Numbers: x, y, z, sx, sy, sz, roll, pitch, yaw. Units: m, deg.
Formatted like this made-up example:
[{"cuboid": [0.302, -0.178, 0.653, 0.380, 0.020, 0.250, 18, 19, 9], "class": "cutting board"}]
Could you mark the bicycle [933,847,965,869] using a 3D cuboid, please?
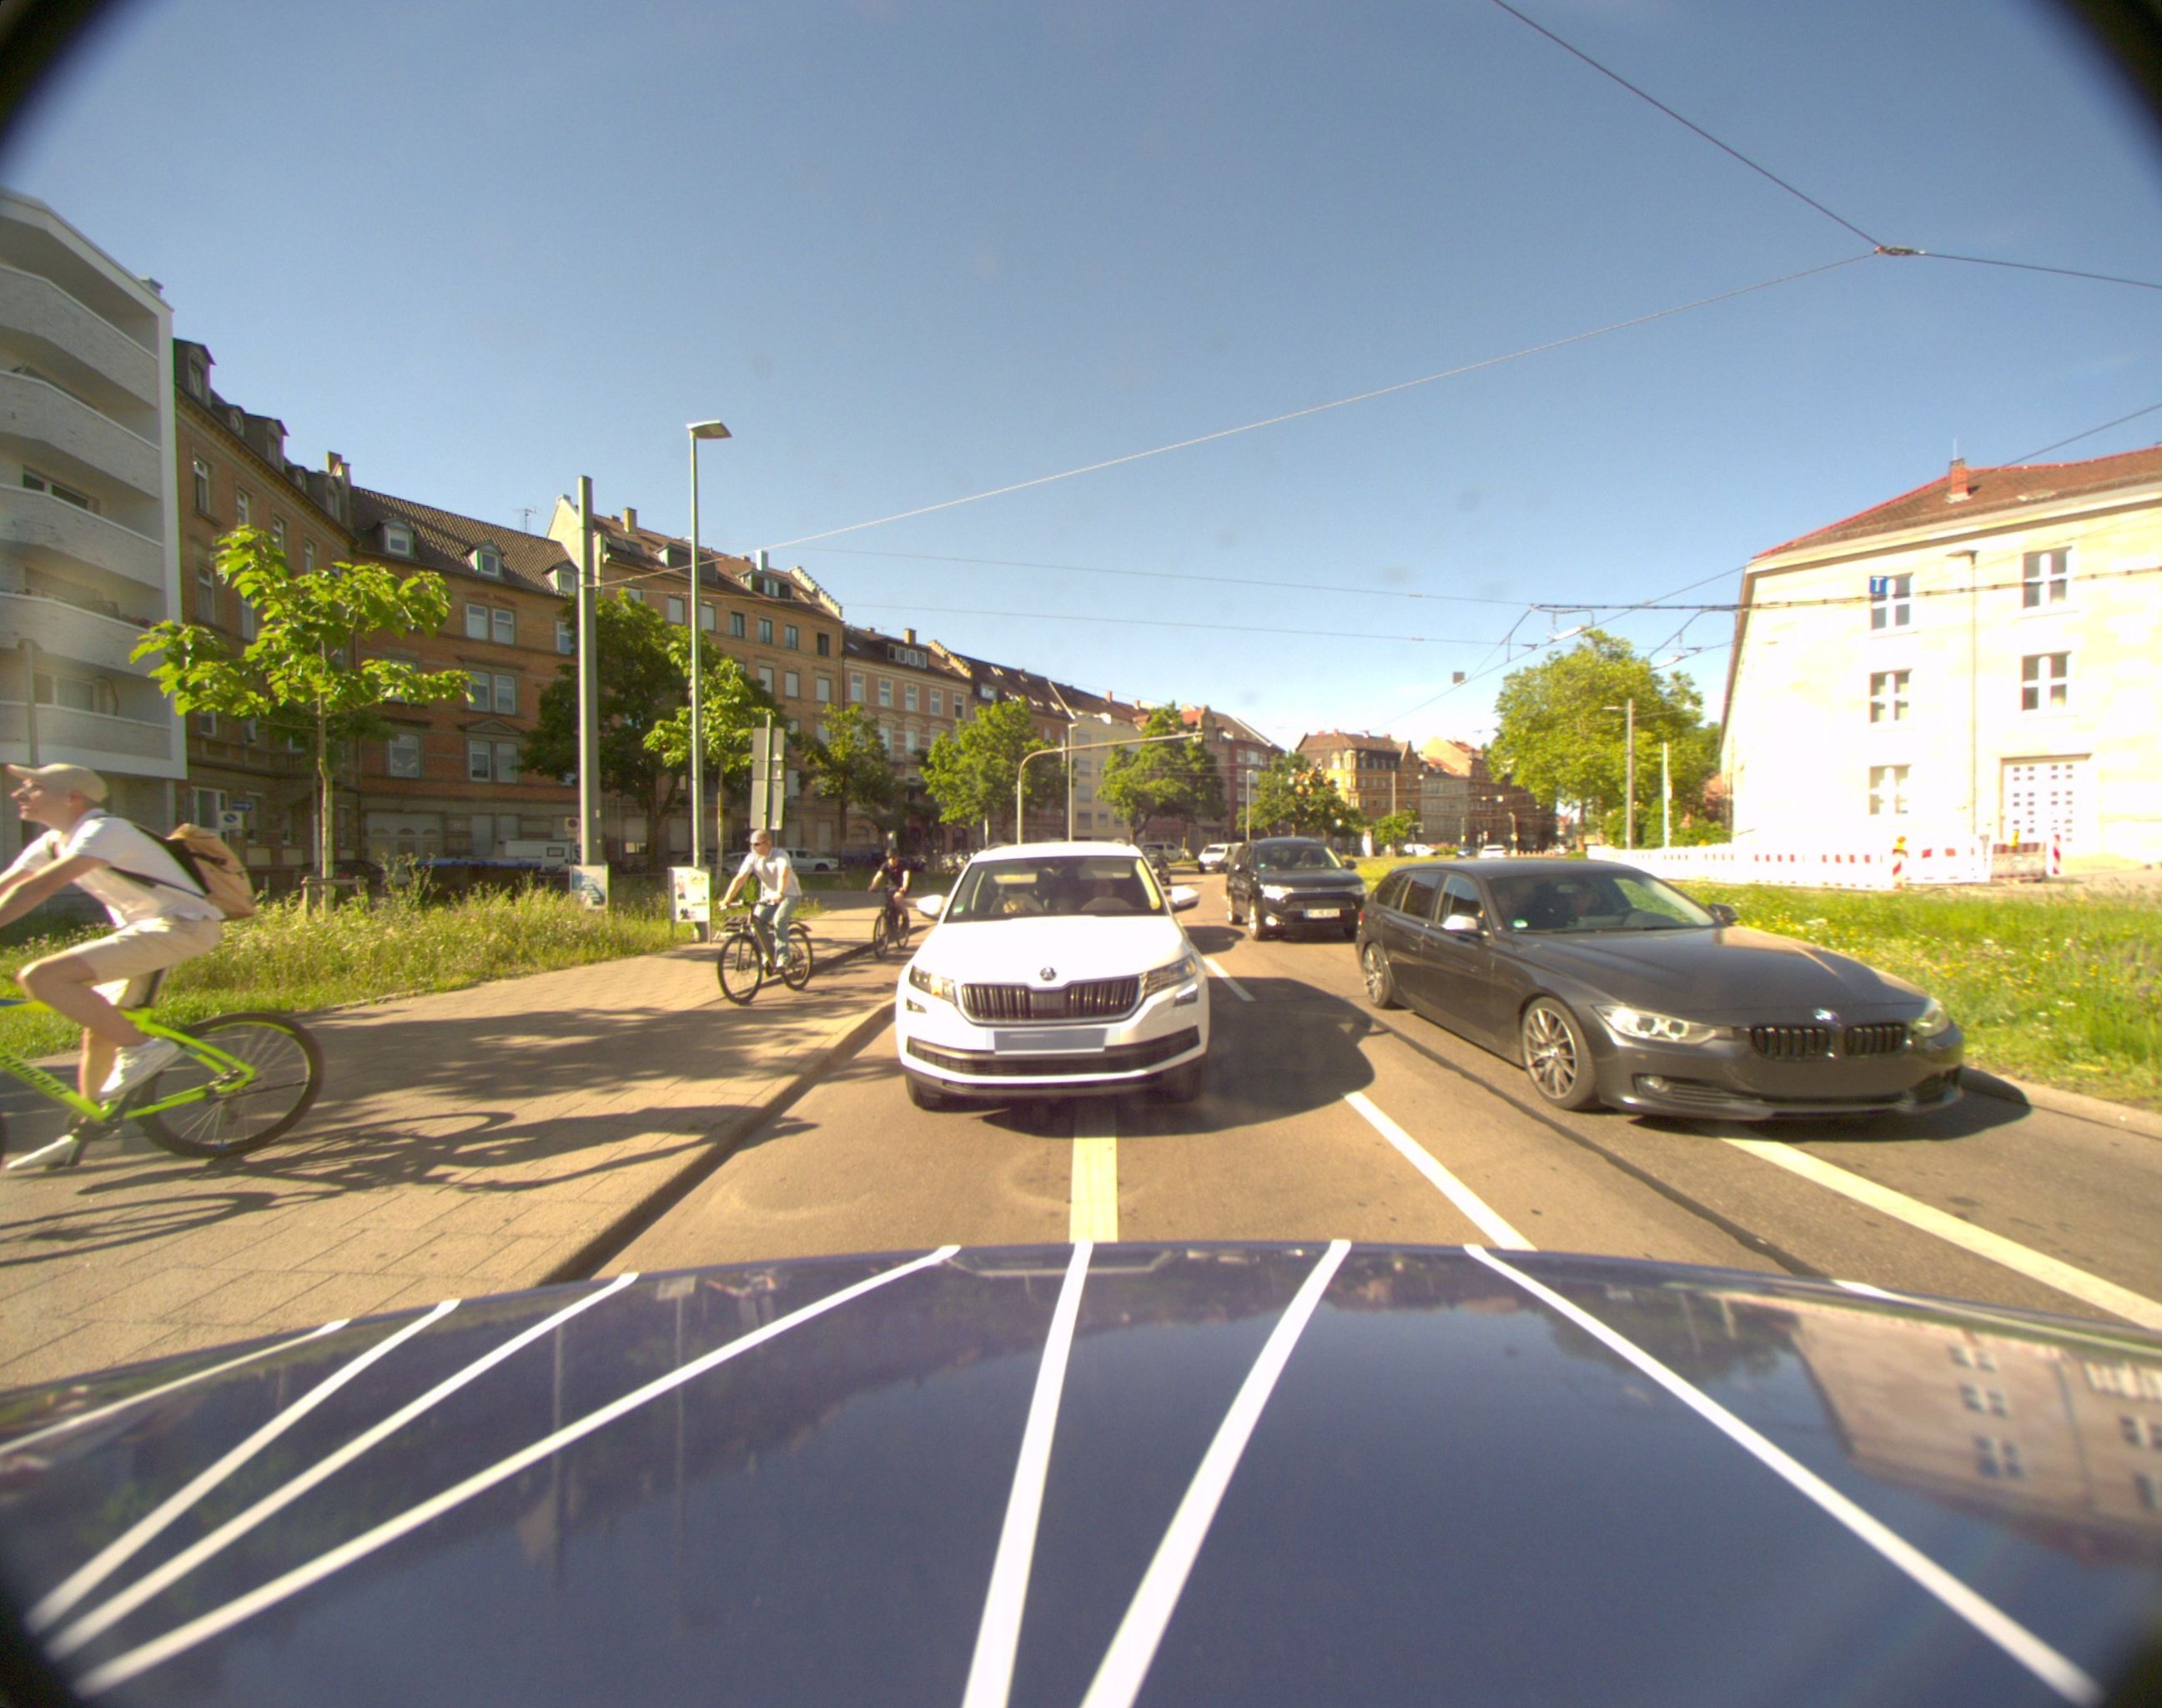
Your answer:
[{"cuboid": [-7.732, 0.243, 44.515, 0.664, 1.260, 2.198, -3, 1, -45], "class": "bicycle"}]

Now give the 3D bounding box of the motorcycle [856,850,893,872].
[{"cuboid": [-12.605, 0.403, 46.401, 2.199, 1.260, 0.664, -2, 1, 24], "class": "motorcycle"}]

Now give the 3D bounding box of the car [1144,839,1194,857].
[{"cuboid": [8.195, -0.584, 70.606, 4.578, 1.658, 1.600, 0, 1, 7], "class": "car"}]

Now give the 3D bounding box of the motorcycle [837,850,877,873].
[{"cuboid": [-13.292, 0.440, 45.016, 2.314, 1.270, 0.664, -2, 1, 24], "class": "motorcycle"}]

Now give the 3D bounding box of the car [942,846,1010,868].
[{"cuboid": [-7.046, 0.178, 51.292, 4.322, 1.398, 1.682, 0, 1, 3], "class": "car"}]

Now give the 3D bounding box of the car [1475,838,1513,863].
[{"cuboid": [28.666, -0.266, 52.839, 1.821, 1.636, 4.188, -1, 0, 22], "class": "car"}]

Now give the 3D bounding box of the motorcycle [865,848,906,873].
[{"cuboid": [-11.151, 0.359, 43.290, 2.200, 1.315, 0.664, -2, 1, 18], "class": "motorcycle"}]

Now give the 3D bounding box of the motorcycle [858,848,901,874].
[{"cuboid": [-11.181, 0.377, 42.204, 2.200, 1.322, 0.663, -2, 1, 13], "class": "motorcycle"}]

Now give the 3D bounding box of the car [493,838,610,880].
[{"cuboid": [-27.120, 0.217, 39.007, 2.047, 2.026, 4.510, 1, 2, 41], "class": "car"}]

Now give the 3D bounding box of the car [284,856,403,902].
[{"cuboid": [-26.171, 0.829, 27.145, 1.835, 1.419, 4.378, -1, 1, -27], "class": "car"}]

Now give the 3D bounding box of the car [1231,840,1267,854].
[{"cuboid": [18.691, -0.814, 84.656, 3.823, 1.581, 1.600, 0, 1, 6], "class": "car"}]

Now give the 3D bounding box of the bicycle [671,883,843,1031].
[{"cuboid": [-3.447, 1.029, 8.359, 0.758, 1.293, 2.155, -1, 1, 6], "class": "bicycle"}]

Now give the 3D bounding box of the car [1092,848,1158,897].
[{"cuboid": [1.641, 0.601, 26.954, 1.838, 1.543, 4.151, 0, 1, 10], "class": "car"}]

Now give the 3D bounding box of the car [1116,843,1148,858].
[{"cuboid": [5.466, -0.417, 80.725, 1.547, 1.578, 3.607, 1, 2, 41], "class": "car"}]

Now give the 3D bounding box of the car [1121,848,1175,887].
[{"cuboid": [3.121, 0.559, 34.863, 1.837, 1.637, 4.152, 0, 1, 14], "class": "car"}]

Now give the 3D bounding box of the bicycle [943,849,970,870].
[{"cuboid": [-7.688, 0.343, 46.757, 0.664, 1.260, 2.199, -3, 1, -36], "class": "bicycle"}]

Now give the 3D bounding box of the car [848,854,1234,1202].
[{"cuboid": [-0.230, 0.856, 5.947, 1.842, 1.636, 4.397, -2, 0, -1], "class": "car"}]

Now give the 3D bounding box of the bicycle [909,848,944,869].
[{"cuboid": [-9.513, 0.282, 46.709, 2.198, 1.260, 0.664, -2, 1, 32], "class": "bicycle"}]

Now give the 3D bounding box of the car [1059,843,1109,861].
[{"cuboid": [0.258, -0.156, 61.162, 3.823, 1.398, 1.600, 0, 1, 6], "class": "car"}]

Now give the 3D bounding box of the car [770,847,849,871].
[{"cuboid": [-14.683, 0.258, 41.192, 3.700, 1.244, 1.540, 0, 1, 2], "class": "car"}]

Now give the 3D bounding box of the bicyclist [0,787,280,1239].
[{"cuboid": [-4.381, 0.599, 3.252, 0.715, 1.715, 1.095, 1, 1, 10], "class": "bicyclist"}]

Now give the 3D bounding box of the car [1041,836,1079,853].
[{"cuboid": [-1.942, -0.938, 71.662, 1.547, 1.578, 3.607, 1, 2, 41], "class": "car"}]

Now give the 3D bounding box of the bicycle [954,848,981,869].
[{"cuboid": [-7.125, 0.311, 47.751, 0.664, 1.260, 2.199, -3, 1, -36], "class": "bicycle"}]

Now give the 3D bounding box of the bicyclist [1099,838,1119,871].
[{"cuboid": [1.490, 0.009, 39.972, 0.734, 1.685, 0.973, 0, 1, 22], "class": "bicyclist"}]

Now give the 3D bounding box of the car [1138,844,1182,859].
[{"cuboid": [7.123, -0.244, 68.176, 3.823, 1.372, 1.600, 0, 1, 9], "class": "car"}]

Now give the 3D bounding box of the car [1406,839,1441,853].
[{"cuboid": [52.324, -1.219, 116.195, 4.578, 1.864, 2.004, -2, 1, 33], "class": "car"}]

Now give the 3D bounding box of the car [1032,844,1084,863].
[{"cuboid": [-1.754, -0.051, 58.707, 3.823, 1.398, 1.600, 0, 1, 6], "class": "car"}]

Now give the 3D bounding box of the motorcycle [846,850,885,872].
[{"cuboid": [-12.943, 0.417, 45.622, 2.314, 1.276, 0.664, -2, 1, 24], "class": "motorcycle"}]

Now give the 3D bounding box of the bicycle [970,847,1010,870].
[{"cuboid": [-5.478, 0.270, 45.736, 2.207, 1.260, 0.662, -3, 1, -25], "class": "bicycle"}]

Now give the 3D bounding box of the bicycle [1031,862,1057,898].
[{"cuboid": [-1.279, 0.895, 26.795, 0.668, 1.190, 2.155, -1, 1, 4], "class": "bicycle"}]

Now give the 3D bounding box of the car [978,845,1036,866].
[{"cuboid": [-5.230, 0.090, 53.962, 3.822, 1.398, 1.683, 0, 1, 9], "class": "car"}]

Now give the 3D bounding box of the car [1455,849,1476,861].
[{"cuboid": [54.862, 0.102, 108.366, 1.835, 1.637, 4.157, 1, 2, 40], "class": "car"}]

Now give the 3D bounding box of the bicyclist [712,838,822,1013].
[{"cuboid": [-3.453, 0.757, 8.424, 0.809, 1.855, 0.749, -1, 2, 6], "class": "bicyclist"}]

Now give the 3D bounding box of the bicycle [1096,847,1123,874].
[{"cuboid": [1.503, 0.318, 39.990, 0.735, 1.353, 2.078, 0, 1, 21], "class": "bicycle"}]

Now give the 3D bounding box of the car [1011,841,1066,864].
[{"cuboid": [-3.110, -0.133, 56.101, 3.825, 1.698, 1.682, 0, 1, 3], "class": "car"}]

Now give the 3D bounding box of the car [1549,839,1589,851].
[{"cuboid": [65.811, -1.195, 102.518, 4.063, 1.647, 1.768, 0, 1, 13], "class": "car"}]

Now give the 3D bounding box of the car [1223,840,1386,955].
[{"cuboid": [3.695, 0.628, 13.395, 1.841, 1.636, 4.399, -2, 0, 5], "class": "car"}]

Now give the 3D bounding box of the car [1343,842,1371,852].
[{"cuboid": [44.945, -1.180, 123.841, 4.058, 1.647, 1.770, 1, 2, 34], "class": "car"}]

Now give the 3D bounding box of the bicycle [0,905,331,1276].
[{"cuboid": [-4.404, 0.935, 3.144, 0.715, 1.319, 1.750, 1, 0, 10], "class": "bicycle"}]

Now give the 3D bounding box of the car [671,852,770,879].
[{"cuboid": [-17.502, 0.535, 36.903, 4.156, 1.244, 1.683, 0, 1, 13], "class": "car"}]

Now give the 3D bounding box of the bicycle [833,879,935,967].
[{"cuboid": [-3.095, 1.043, 12.208, 0.637, 1.190, 2.156, -1, 1, 13], "class": "bicycle"}]

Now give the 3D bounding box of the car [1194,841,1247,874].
[{"cuboid": [9.513, 0.179, 51.617, 1.978, 2.074, 4.722, 1, 1, 31], "class": "car"}]

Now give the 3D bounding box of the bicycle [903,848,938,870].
[{"cuboid": [-9.709, 0.297, 46.006, 2.198, 1.260, 0.664, -2, 1, 32], "class": "bicycle"}]

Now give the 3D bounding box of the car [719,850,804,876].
[{"cuboid": [-16.410, 0.441, 39.103, 3.696, 1.244, 1.683, 0, 1, 13], "class": "car"}]

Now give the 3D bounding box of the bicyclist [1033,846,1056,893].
[{"cuboid": [-1.266, 0.528, 26.616, 0.668, 1.619, 0.971, -1, 1, 3], "class": "bicyclist"}]

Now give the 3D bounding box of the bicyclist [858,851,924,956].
[{"cuboid": [-3.055, 0.775, 12.313, 0.630, 1.619, 0.972, -1, 1, 13], "class": "bicyclist"}]

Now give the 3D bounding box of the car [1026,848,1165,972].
[{"cuboid": [0.232, 0.764, 12.605, 1.842, 1.636, 4.397, -2, 0, 1], "class": "car"}]

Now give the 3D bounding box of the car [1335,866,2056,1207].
[{"cuboid": [3.476, 0.851, 5.591, 1.741, 1.359, 4.426, -2, 0, 1], "class": "car"}]

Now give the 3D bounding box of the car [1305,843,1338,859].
[{"cuboid": [22.333, -0.315, 70.393, 1.836, 1.464, 4.722, 1, 1, 31], "class": "car"}]

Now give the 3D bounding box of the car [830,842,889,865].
[{"cuboid": [-15.613, -0.054, 53.668, 1.547, 1.578, 3.709, 1, 2, 41], "class": "car"}]

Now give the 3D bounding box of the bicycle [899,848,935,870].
[{"cuboid": [-9.745, 0.309, 45.067, 2.198, 1.260, 0.664, -2, 1, 30], "class": "bicycle"}]
